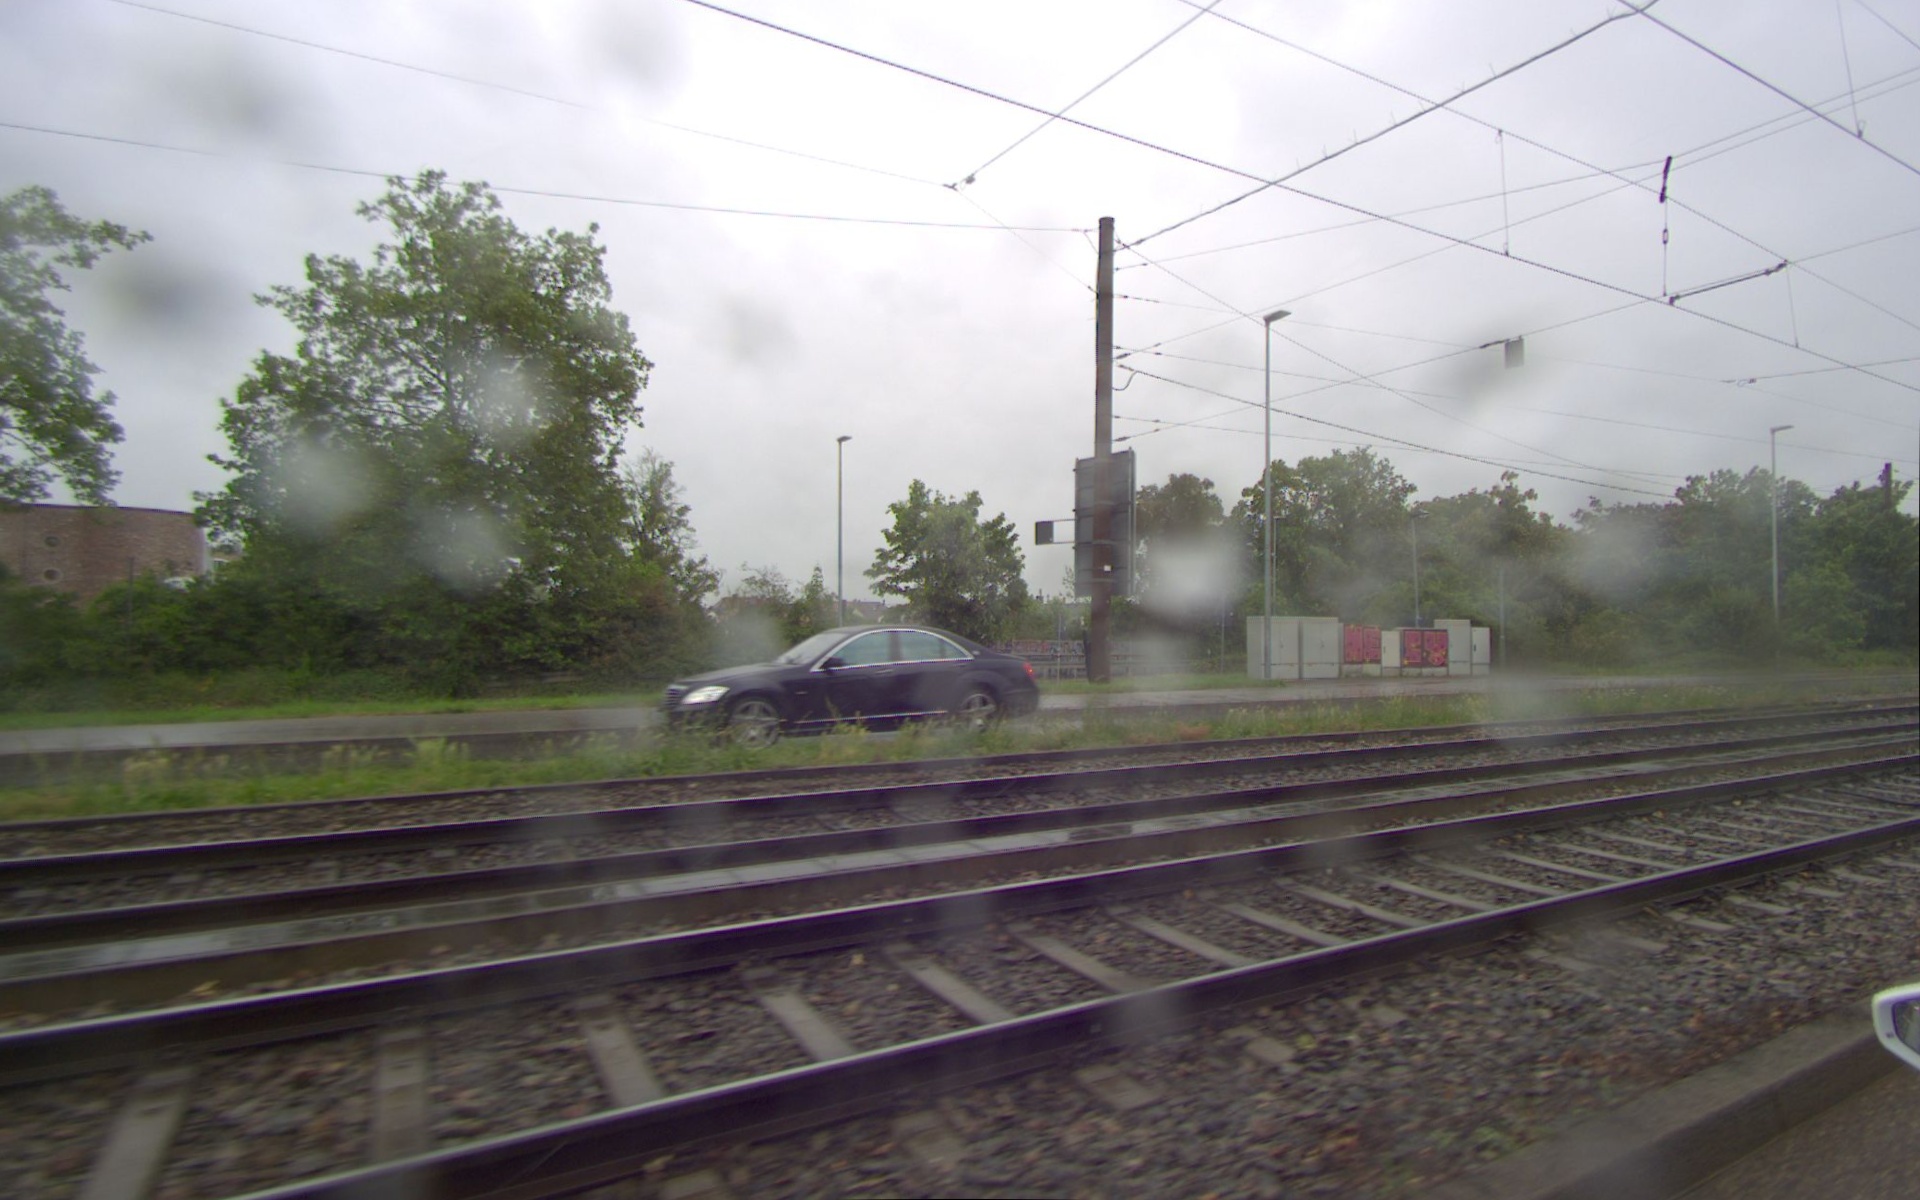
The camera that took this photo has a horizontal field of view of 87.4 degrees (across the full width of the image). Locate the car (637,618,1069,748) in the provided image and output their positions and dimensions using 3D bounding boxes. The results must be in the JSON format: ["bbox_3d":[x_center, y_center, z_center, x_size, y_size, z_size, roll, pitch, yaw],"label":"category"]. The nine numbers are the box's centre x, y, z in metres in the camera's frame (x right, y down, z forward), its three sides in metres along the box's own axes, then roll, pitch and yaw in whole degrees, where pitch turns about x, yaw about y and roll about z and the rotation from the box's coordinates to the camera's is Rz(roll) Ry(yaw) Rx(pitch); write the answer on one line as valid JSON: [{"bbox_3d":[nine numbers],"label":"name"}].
[{"bbox_3d":[-1.300,0.972,13.197,5.323,1.423,1.984,1,-1,-30],"label":"car"}]
